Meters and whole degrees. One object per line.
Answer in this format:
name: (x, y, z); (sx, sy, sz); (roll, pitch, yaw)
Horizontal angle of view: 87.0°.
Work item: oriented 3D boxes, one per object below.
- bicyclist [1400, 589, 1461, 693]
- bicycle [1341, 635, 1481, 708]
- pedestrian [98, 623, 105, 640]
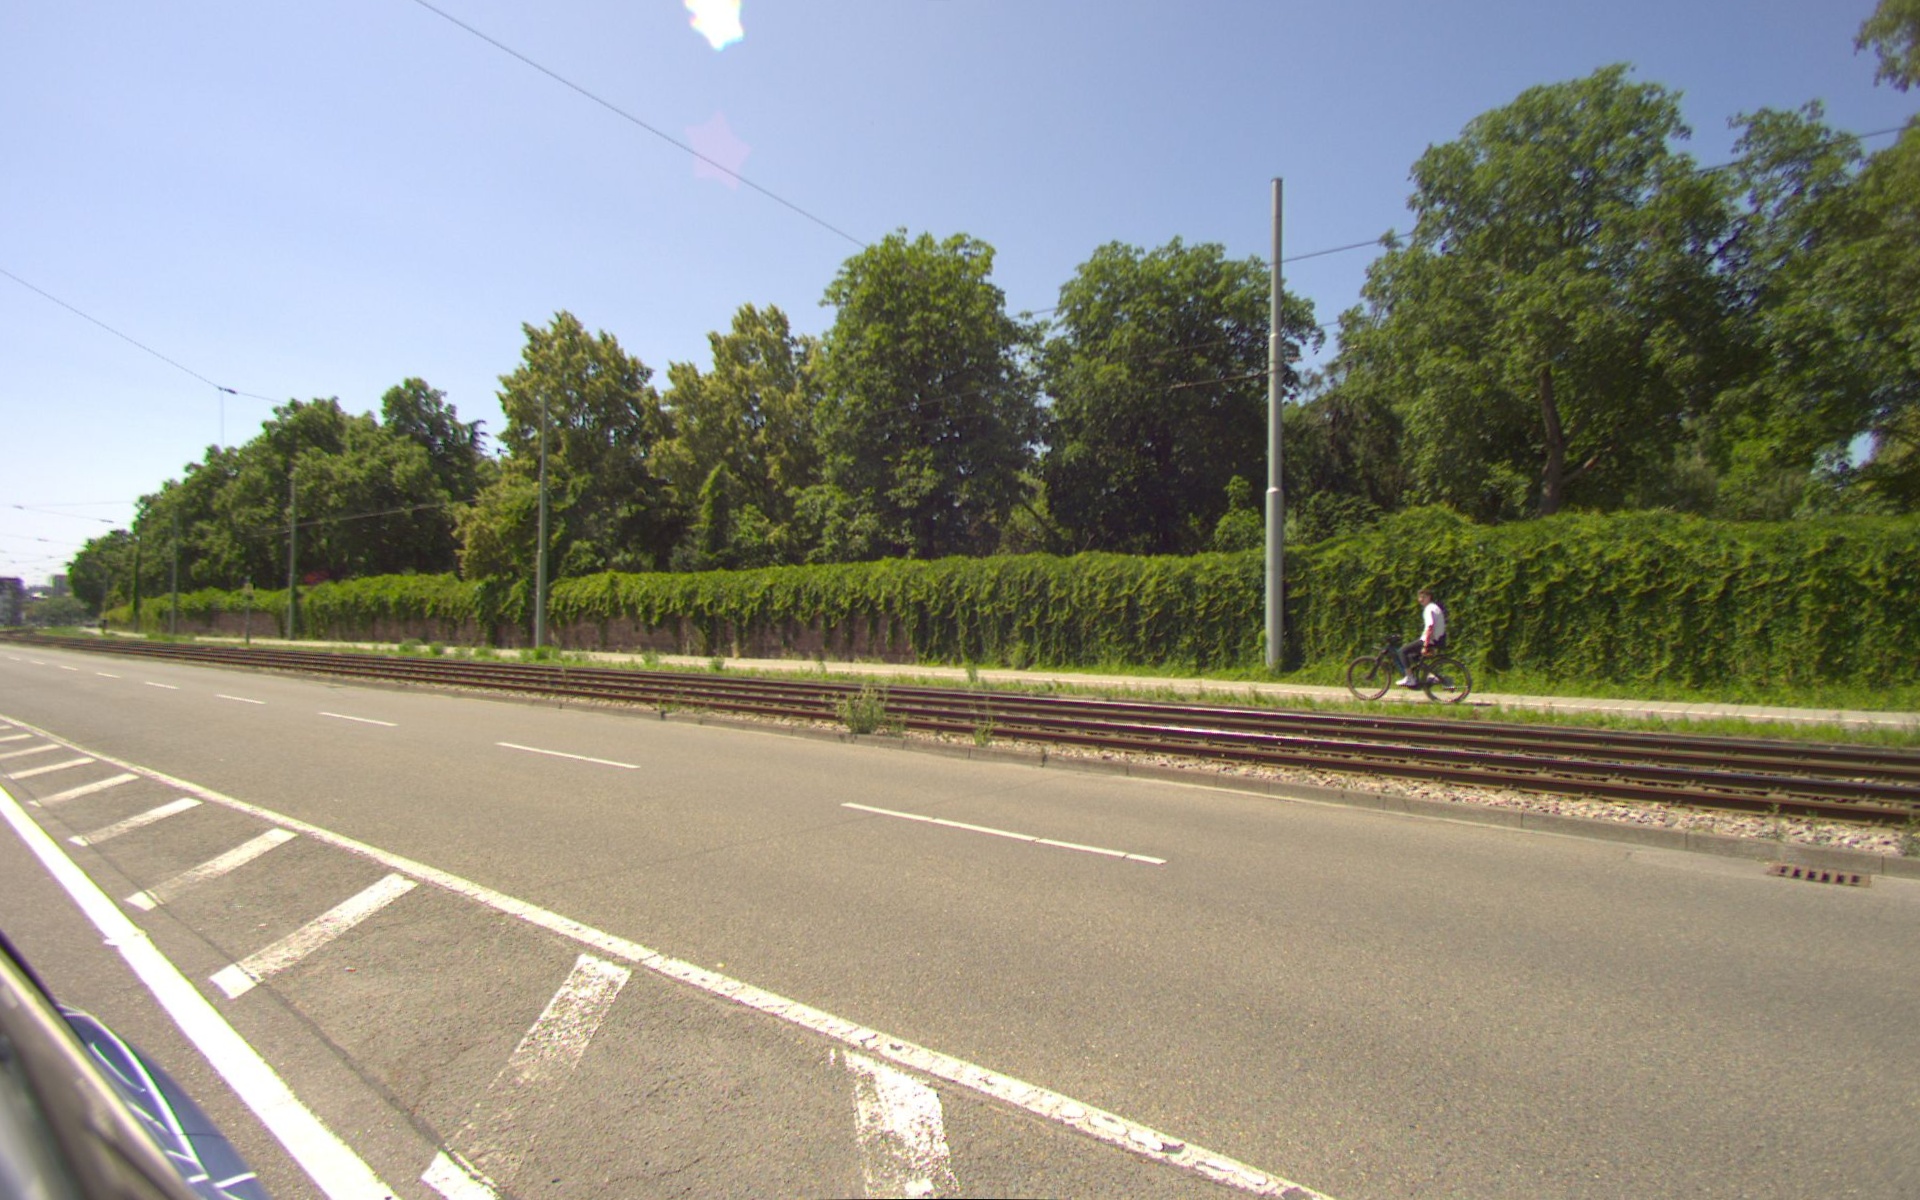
bicyclist: (7.532, 0.645, 16.198); (0.768, 1.624, 0.477); (-1, 0, 41)
bicycle: (7.290, 1.127, 16.424); (1.977, 1.063, 0.610); (-1, 0, 42)
pedestrian: (-84.677, 3.118, 99.827); (0.302, 1.677, 0.447); (-2, -1, 41)
